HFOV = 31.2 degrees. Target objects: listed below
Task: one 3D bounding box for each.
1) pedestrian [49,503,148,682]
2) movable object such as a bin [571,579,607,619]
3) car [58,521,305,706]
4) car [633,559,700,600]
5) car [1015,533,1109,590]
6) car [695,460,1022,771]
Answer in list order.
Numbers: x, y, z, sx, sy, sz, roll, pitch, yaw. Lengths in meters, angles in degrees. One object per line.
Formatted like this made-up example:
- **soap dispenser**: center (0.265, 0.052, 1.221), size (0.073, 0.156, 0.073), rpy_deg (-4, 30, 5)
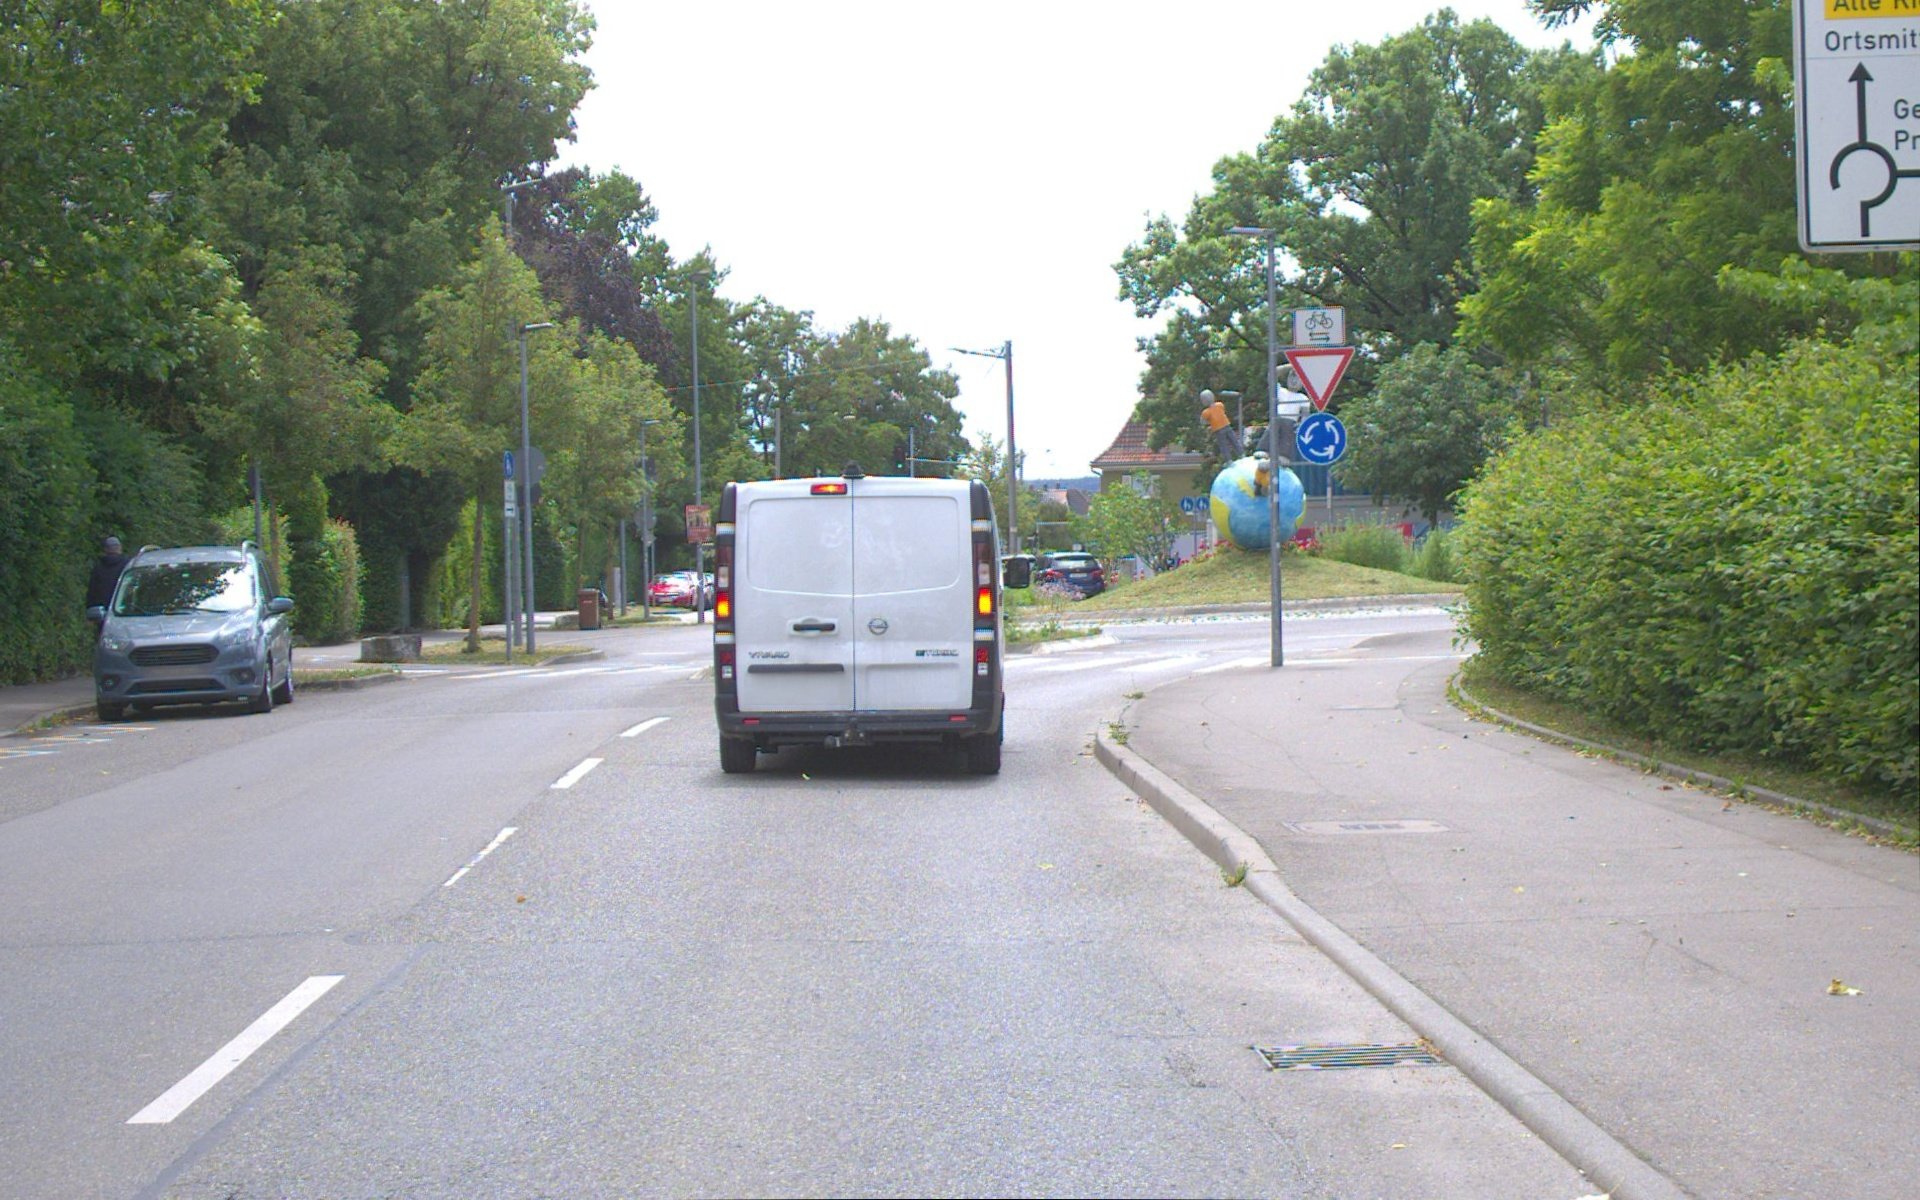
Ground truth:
- **pedestrian**: center (-9.947, -0.096, 39.735), size (0.871, 2.007, 1.041), rpy_deg (-2, 1, -5)
- **movable object such as a bin**: center (-8.413, -0.021, 77.976), size (0.630, 0.860, 0.640), rpy_deg (-2, 1, 10)
- **car**: center (-7.993, 0.087, 35.673), size (2.131, 1.766, 4.466), rpy_deg (1, 1, -8)
- **car**: center (-10.711, -0.760, 125.209), size (2.062, 1.381, 4.049), rpy_deg (-1, 2, -10)
- **car**: center (2.903, -1.128, 99.020), size (1.932, 1.532, 3.926), rpy_deg (-1, 2, -10)
- **car**: center (-0.641, 0.034, 24.130), size (2.034, 1.938, 4.994), rpy_deg (1, 1, 0)
